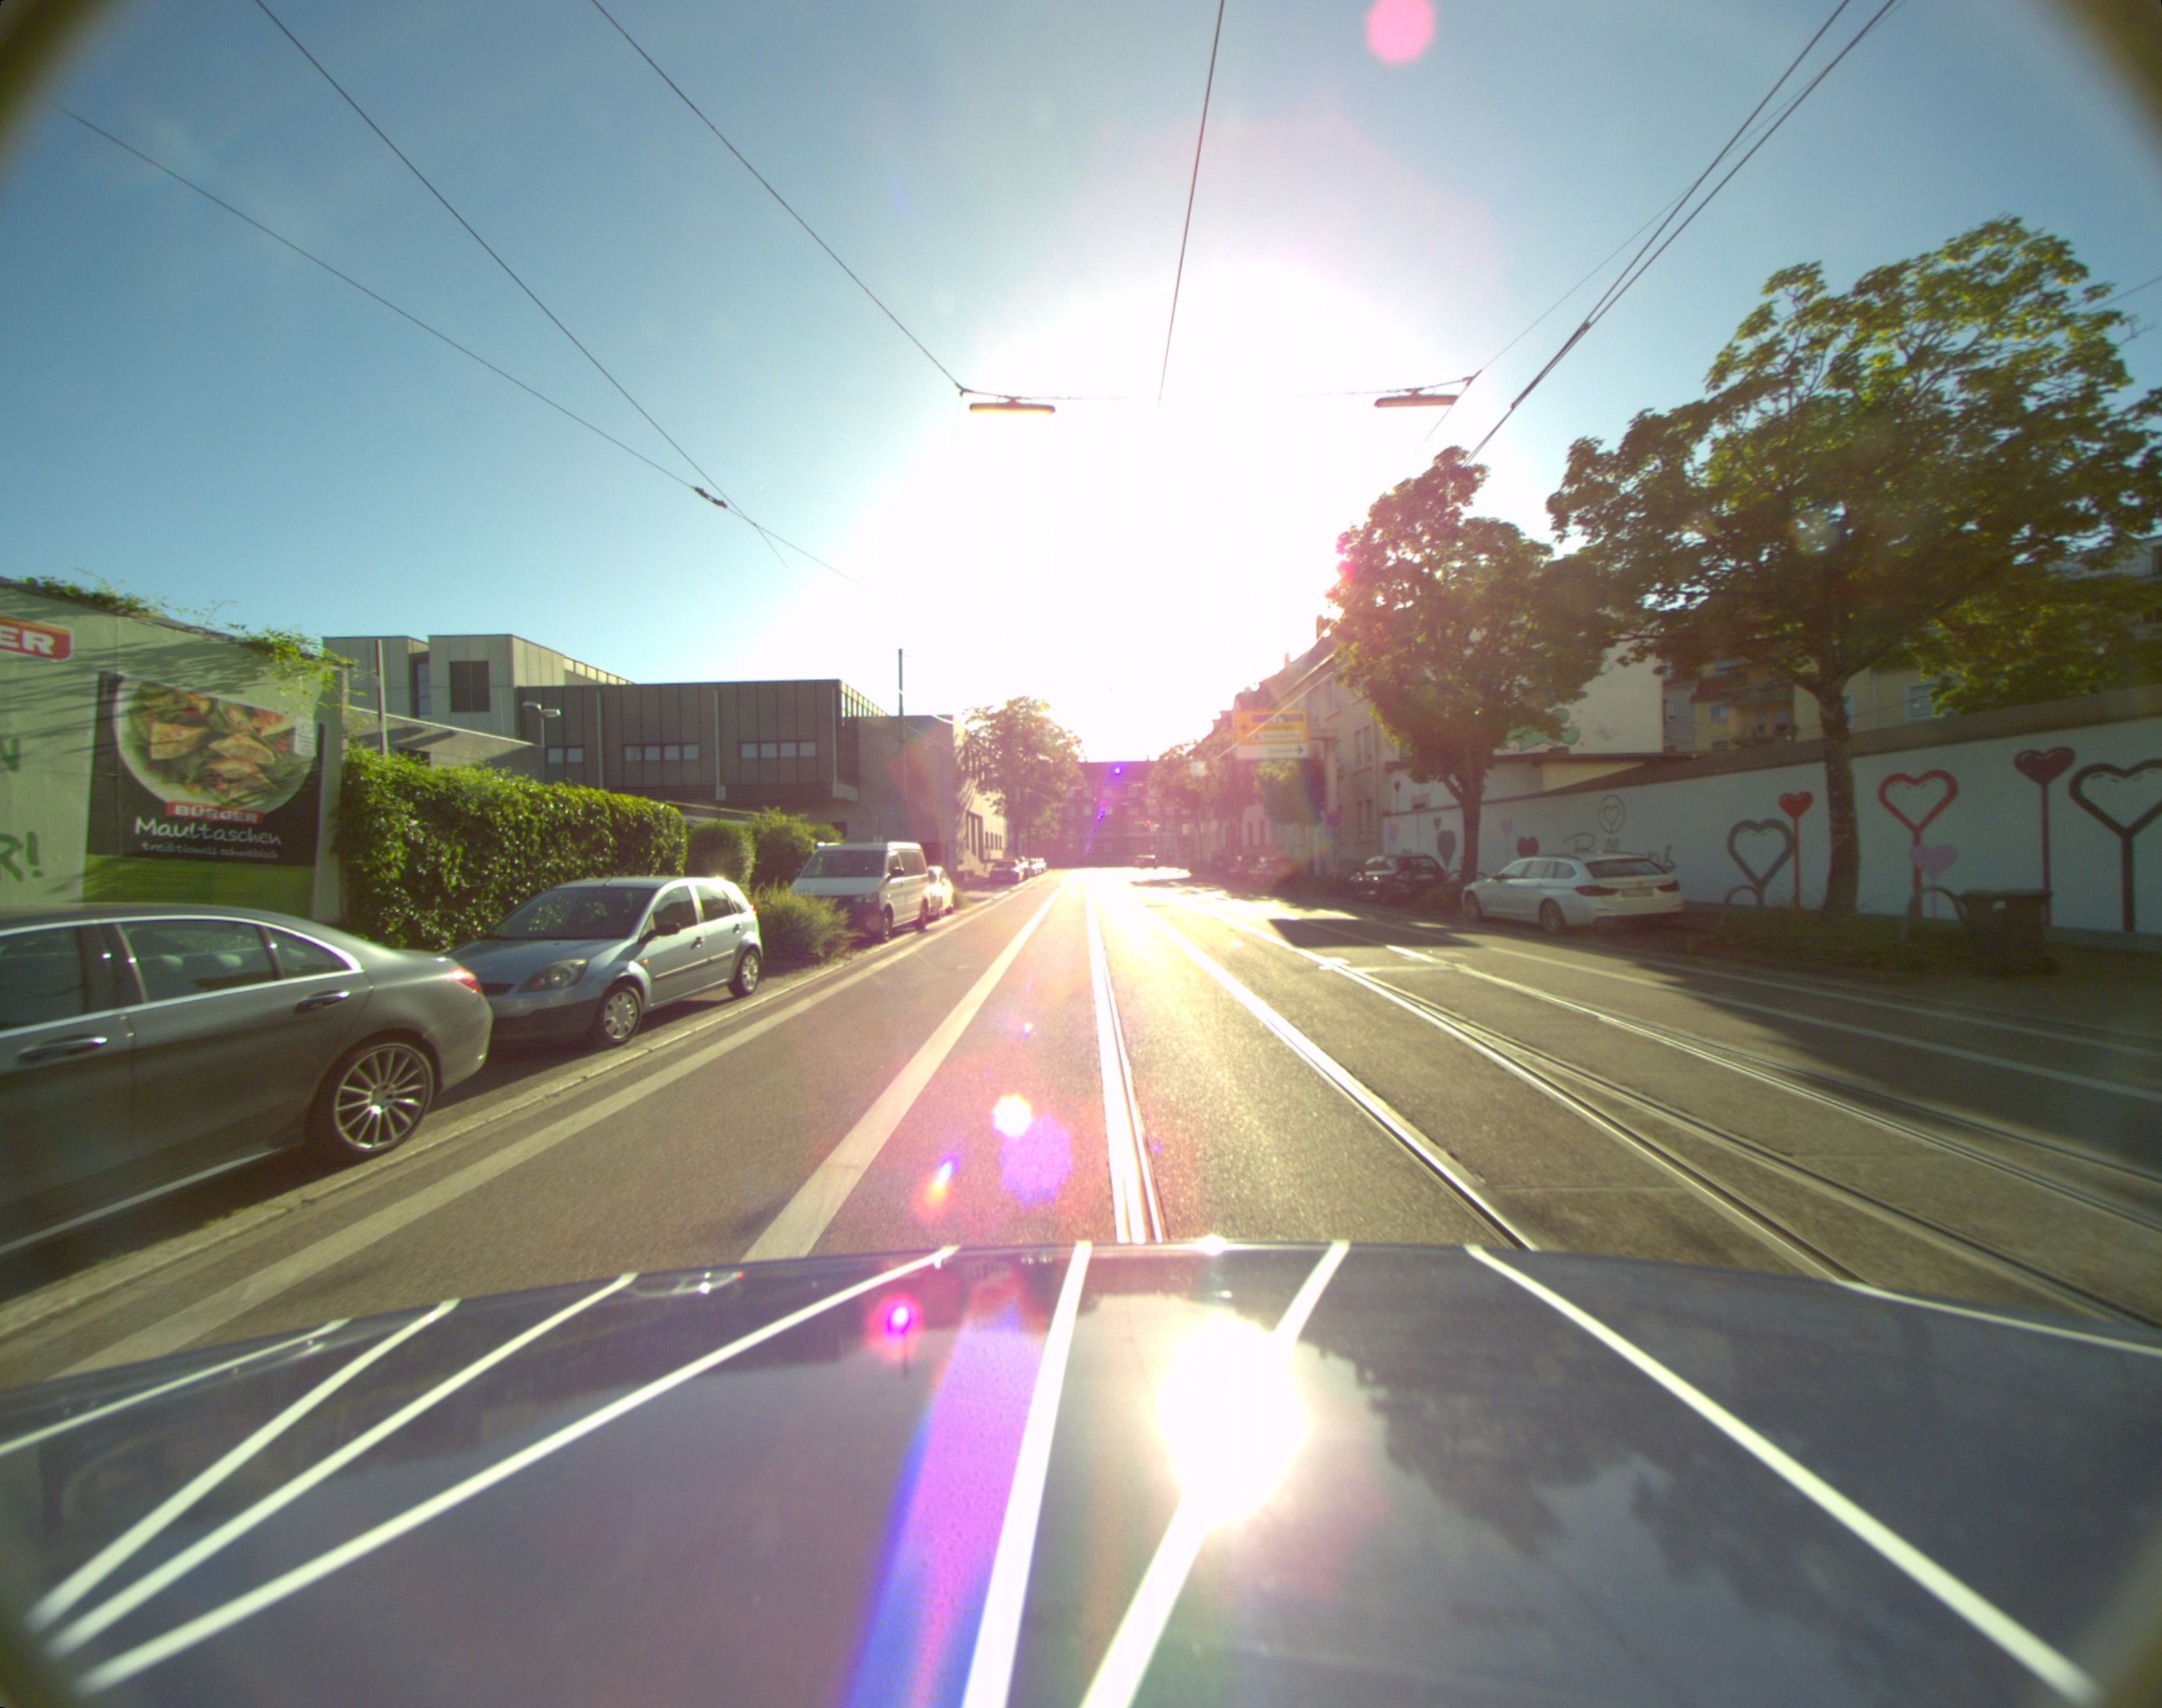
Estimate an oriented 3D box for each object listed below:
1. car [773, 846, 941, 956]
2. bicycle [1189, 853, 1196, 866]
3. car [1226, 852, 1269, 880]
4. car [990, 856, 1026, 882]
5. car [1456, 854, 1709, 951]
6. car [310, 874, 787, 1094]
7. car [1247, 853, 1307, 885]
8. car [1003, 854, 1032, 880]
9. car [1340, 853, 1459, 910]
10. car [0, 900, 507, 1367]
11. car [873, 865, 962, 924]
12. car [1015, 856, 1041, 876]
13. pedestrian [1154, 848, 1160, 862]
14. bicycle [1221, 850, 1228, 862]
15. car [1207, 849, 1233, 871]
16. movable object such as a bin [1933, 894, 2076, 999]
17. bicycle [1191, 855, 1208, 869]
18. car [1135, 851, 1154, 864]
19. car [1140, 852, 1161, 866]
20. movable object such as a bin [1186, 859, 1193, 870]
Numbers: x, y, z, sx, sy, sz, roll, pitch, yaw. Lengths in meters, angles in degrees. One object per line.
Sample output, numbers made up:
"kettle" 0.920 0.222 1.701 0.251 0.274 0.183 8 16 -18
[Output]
"car" -4.559 0.827 16.451 1.858 1.980 5.242 -1 1 2
"bicycle" 9.418 0.464 64.274 0.303 1.036 1.661 -2 1 1
"car" 9.585 0.660 43.966 1.576 1.496 3.999 -2 1 1
"car" -4.475 0.894 47.217 1.707 1.473 4.658 1 1 0
"car" 9.447 0.799 14.902 1.869 1.482 4.660 -2 1 0
"car" -4.868 1.058 7.846 1.877 1.464 4.075 -2 1 2
"car" 9.721 0.698 38.003 1.878 1.420 4.292 -2 1 1
"car" -4.375 0.860 52.713 1.746 1.702 4.276 -2 1 -2
"car" 9.472 0.753 22.979 1.777 1.477 4.304 -2 1 0
"car" -4.720 1.093 2.634 1.829 1.476 4.601 -2 1 1
"car" -4.585 1.091 21.903 1.680 1.409 4.501 0 1 -1
"car" -4.156 0.917 60.350 1.717 1.481 4.623 0 0 0
"pedestrian" 9.804 0.151 97.842 0.640 1.764 0.583 -2 1 0
"bicycle" 12.453 0.183 66.010 0.303 1.036 1.661 -2 1 1
"car" 10.096 0.466 55.262 1.358 1.493 2.548 -2 -2 1
"movable object such as a bin" 9.699 0.950 8.006 0.583 0.954 0.702 -7 1 1
"bicycle" 9.785 0.658 62.632 1.344 1.163 0.409 -2 1 1
"car" 7.870 0.446 94.409 1.923 1.516 3.999 -2 1 1
"car" 7.623 0.566 83.496 1.770 1.455 4.746 0 1 -1
"movable object such as a bin" 9.356 0.936 65.521 0.425 0.930 0.582 -2 1 1
